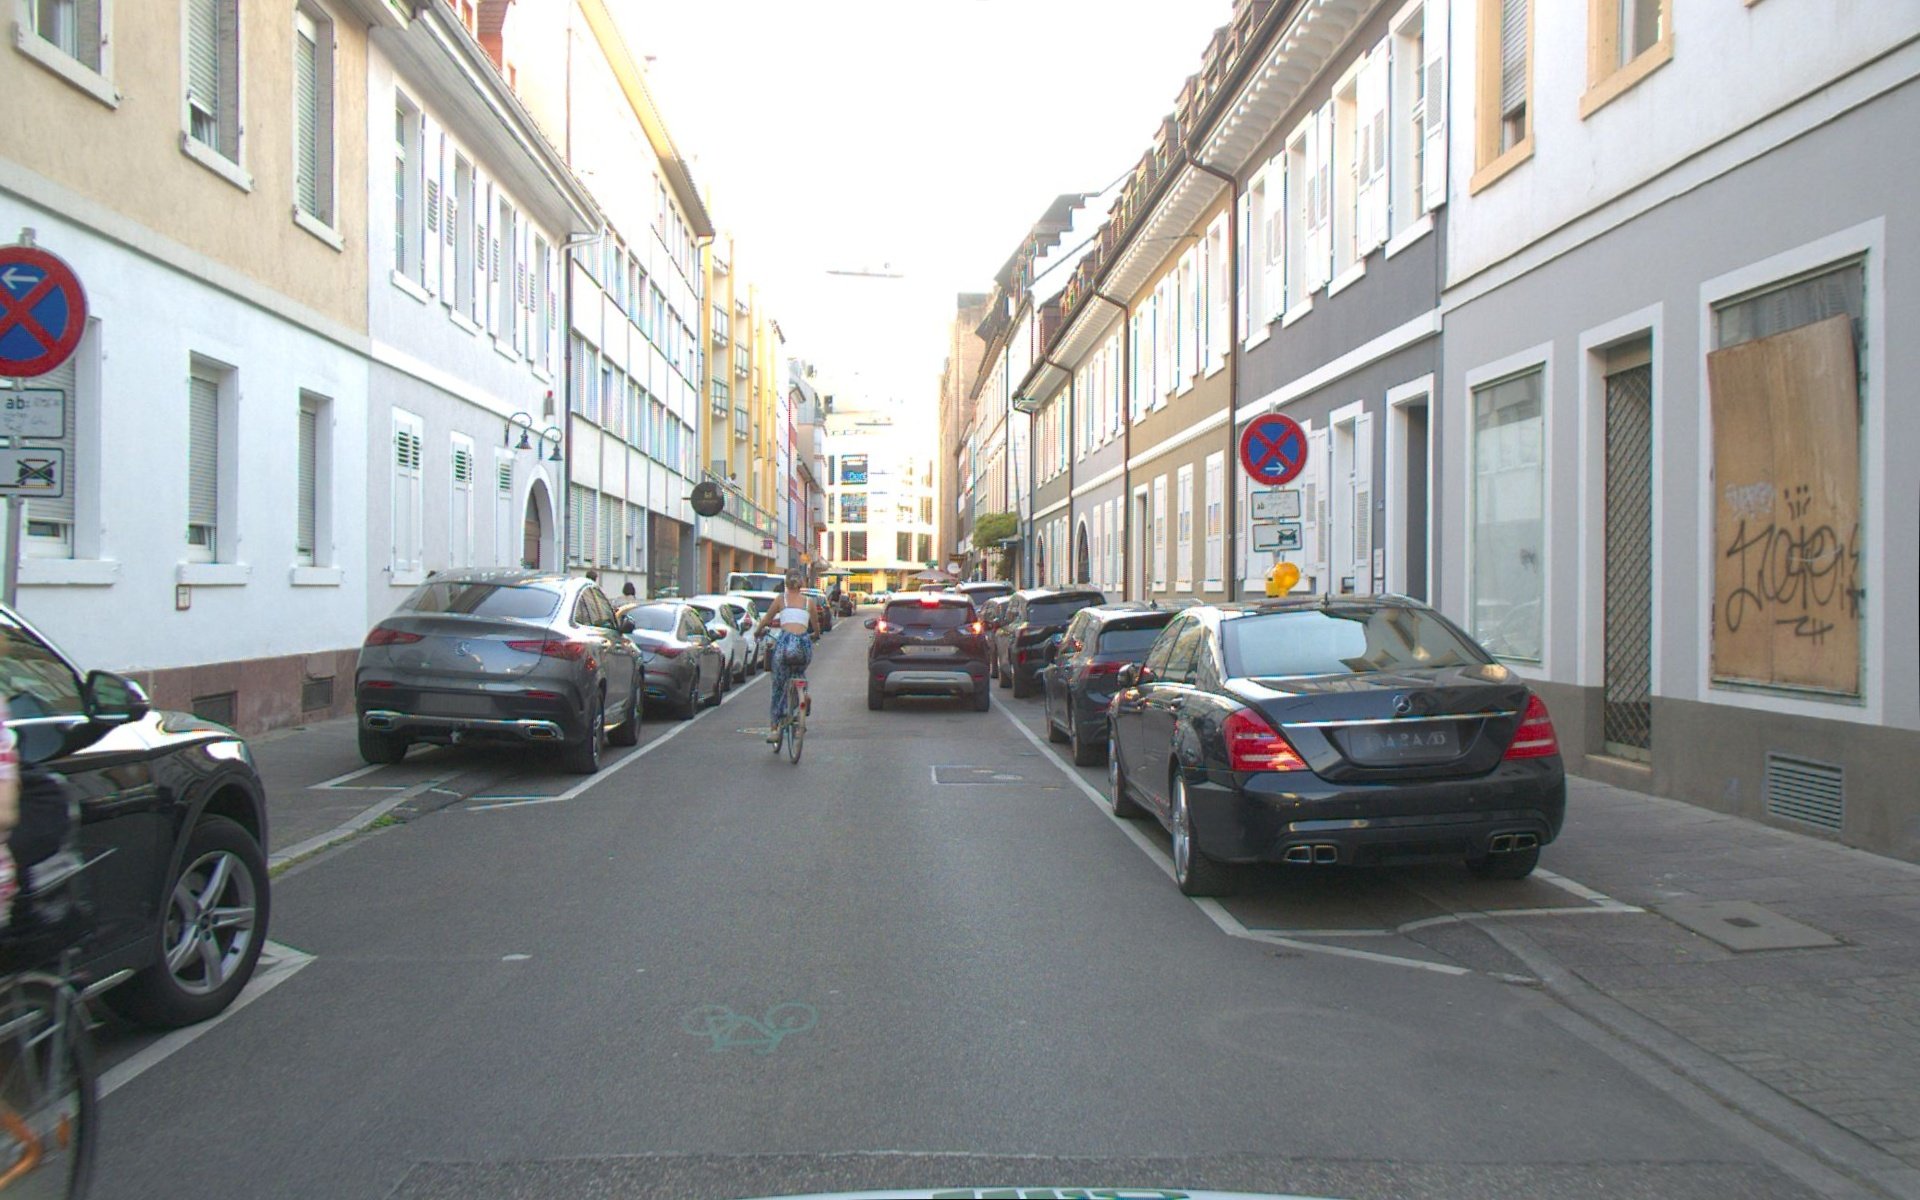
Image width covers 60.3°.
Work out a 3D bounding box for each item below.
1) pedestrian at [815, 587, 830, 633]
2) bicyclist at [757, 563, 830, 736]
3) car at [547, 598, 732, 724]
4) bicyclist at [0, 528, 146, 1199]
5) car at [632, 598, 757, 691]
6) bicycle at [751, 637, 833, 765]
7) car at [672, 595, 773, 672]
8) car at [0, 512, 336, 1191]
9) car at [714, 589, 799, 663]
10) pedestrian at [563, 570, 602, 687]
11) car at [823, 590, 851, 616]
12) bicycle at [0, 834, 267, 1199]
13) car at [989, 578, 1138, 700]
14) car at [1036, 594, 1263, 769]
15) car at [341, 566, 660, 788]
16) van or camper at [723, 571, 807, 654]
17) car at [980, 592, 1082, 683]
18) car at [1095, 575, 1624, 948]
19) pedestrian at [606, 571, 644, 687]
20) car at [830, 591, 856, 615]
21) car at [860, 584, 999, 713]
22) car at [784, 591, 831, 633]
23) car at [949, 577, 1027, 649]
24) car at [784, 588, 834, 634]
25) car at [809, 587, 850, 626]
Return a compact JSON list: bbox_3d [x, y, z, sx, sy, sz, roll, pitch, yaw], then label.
[{"bbox_3d":[-5.359,0.376,64.572,0.543,1.783,0.567,1,0,-6],"label":"pedestrian"},{"bbox_3d":[-1.588,0.456,15.697,0.610,1.602,0.681,1,0,-12],"label":"bicyclist"},{"bbox_3d":[-4.128,0.732,21.959,1.880,1.459,4.290,1,0,-4],"label":"car"},{"bbox_3d":[-1.866,0.576,2.860,0.593,1.393,0.621,1,0,0],"label":"bicyclist"},{"bbox_3d":[-4.451,0.708,28.227,1.620,1.435,3.900,1,0,-2],"label":"car"},{"bbox_3d":[-1.625,0.928,15.796,0.602,1.101,1.804,1,0,-11],"label":"bicycle"},{"bbox_3d":[-4.730,0.631,33.308,1.620,1.435,3.604,1,0,-2],"label":"car"},{"bbox_3d":[-3.295,0.630,4.242,1.766,1.706,4.488,0,0,-1],"label":"car"},{"bbox_3d":[-4.663,0.561,38.294,1.620,1.588,3.604,1,0,-2],"label":"car"},{"bbox_3d":[-6.716,0.504,29.457,0.598,2.049,0.449,1,0,-6],"label":"pedestrian"},{"bbox_3d":[-7.901,0.201,106.085,1.620,1.588,3.604,1,0,-2],"label":"car"},{"bbox_3d":[-1.870,1.013,2.828,0.601,0.948,1.886,1,0,-1],"label":"bicycle"},{"bbox_3d":[1.587,0.576,26.796,1.880,1.768,4.150,1,0,-4],"label":"car"},{"bbox_3d":[1.779,0.723,16.699,1.642,1.512,3.998,1,0,-2],"label":"car"},{"bbox_3d":[-4.087,0.609,15.518,1.958,1.737,4.532,1,0,-4],"label":"car"},{"bbox_3d":[-5.147,0.307,44.122,1.807,2.048,4.676,1,0,-2],"label":"van or camper"},{"bbox_3d":[1.298,0.670,31.538,1.620,1.588,3.604,1,0,-2],"label":"car"},{"bbox_3d":[1.998,0.713,9.930,1.783,1.556,5.070,-3,0,-1],"label":"car"},{"bbox_3d":[-5.955,0.513,29.441,0.598,2.049,0.449,1,0,-6],"label":"pedestrian"},{"bbox_3d":[-7.954,0.186,112.857,1.620,1.588,3.604,1,0,-2],"label":"car"},{"bbox_3d":[-0.496,0.630,23.593,1.783,1.646,3.998,1,0,-3],"label":"car"},{"bbox_3d":[-6.061,0.443,66.078,1.620,1.588,3.604,1,0,-2],"label":"car"},{"bbox_3d":[0.617,0.282,39.099,1.620,1.588,3.604,1,0,-2],"label":"car"},{"bbox_3d":[-5.532,0.384,60.795,1.620,1.588,3.604,1,0,-2],"label":"car"},{"bbox_3d":[-5.644,0.257,71.797,1.620,1.588,3.604,1,0,-2],"label":"car"}]
